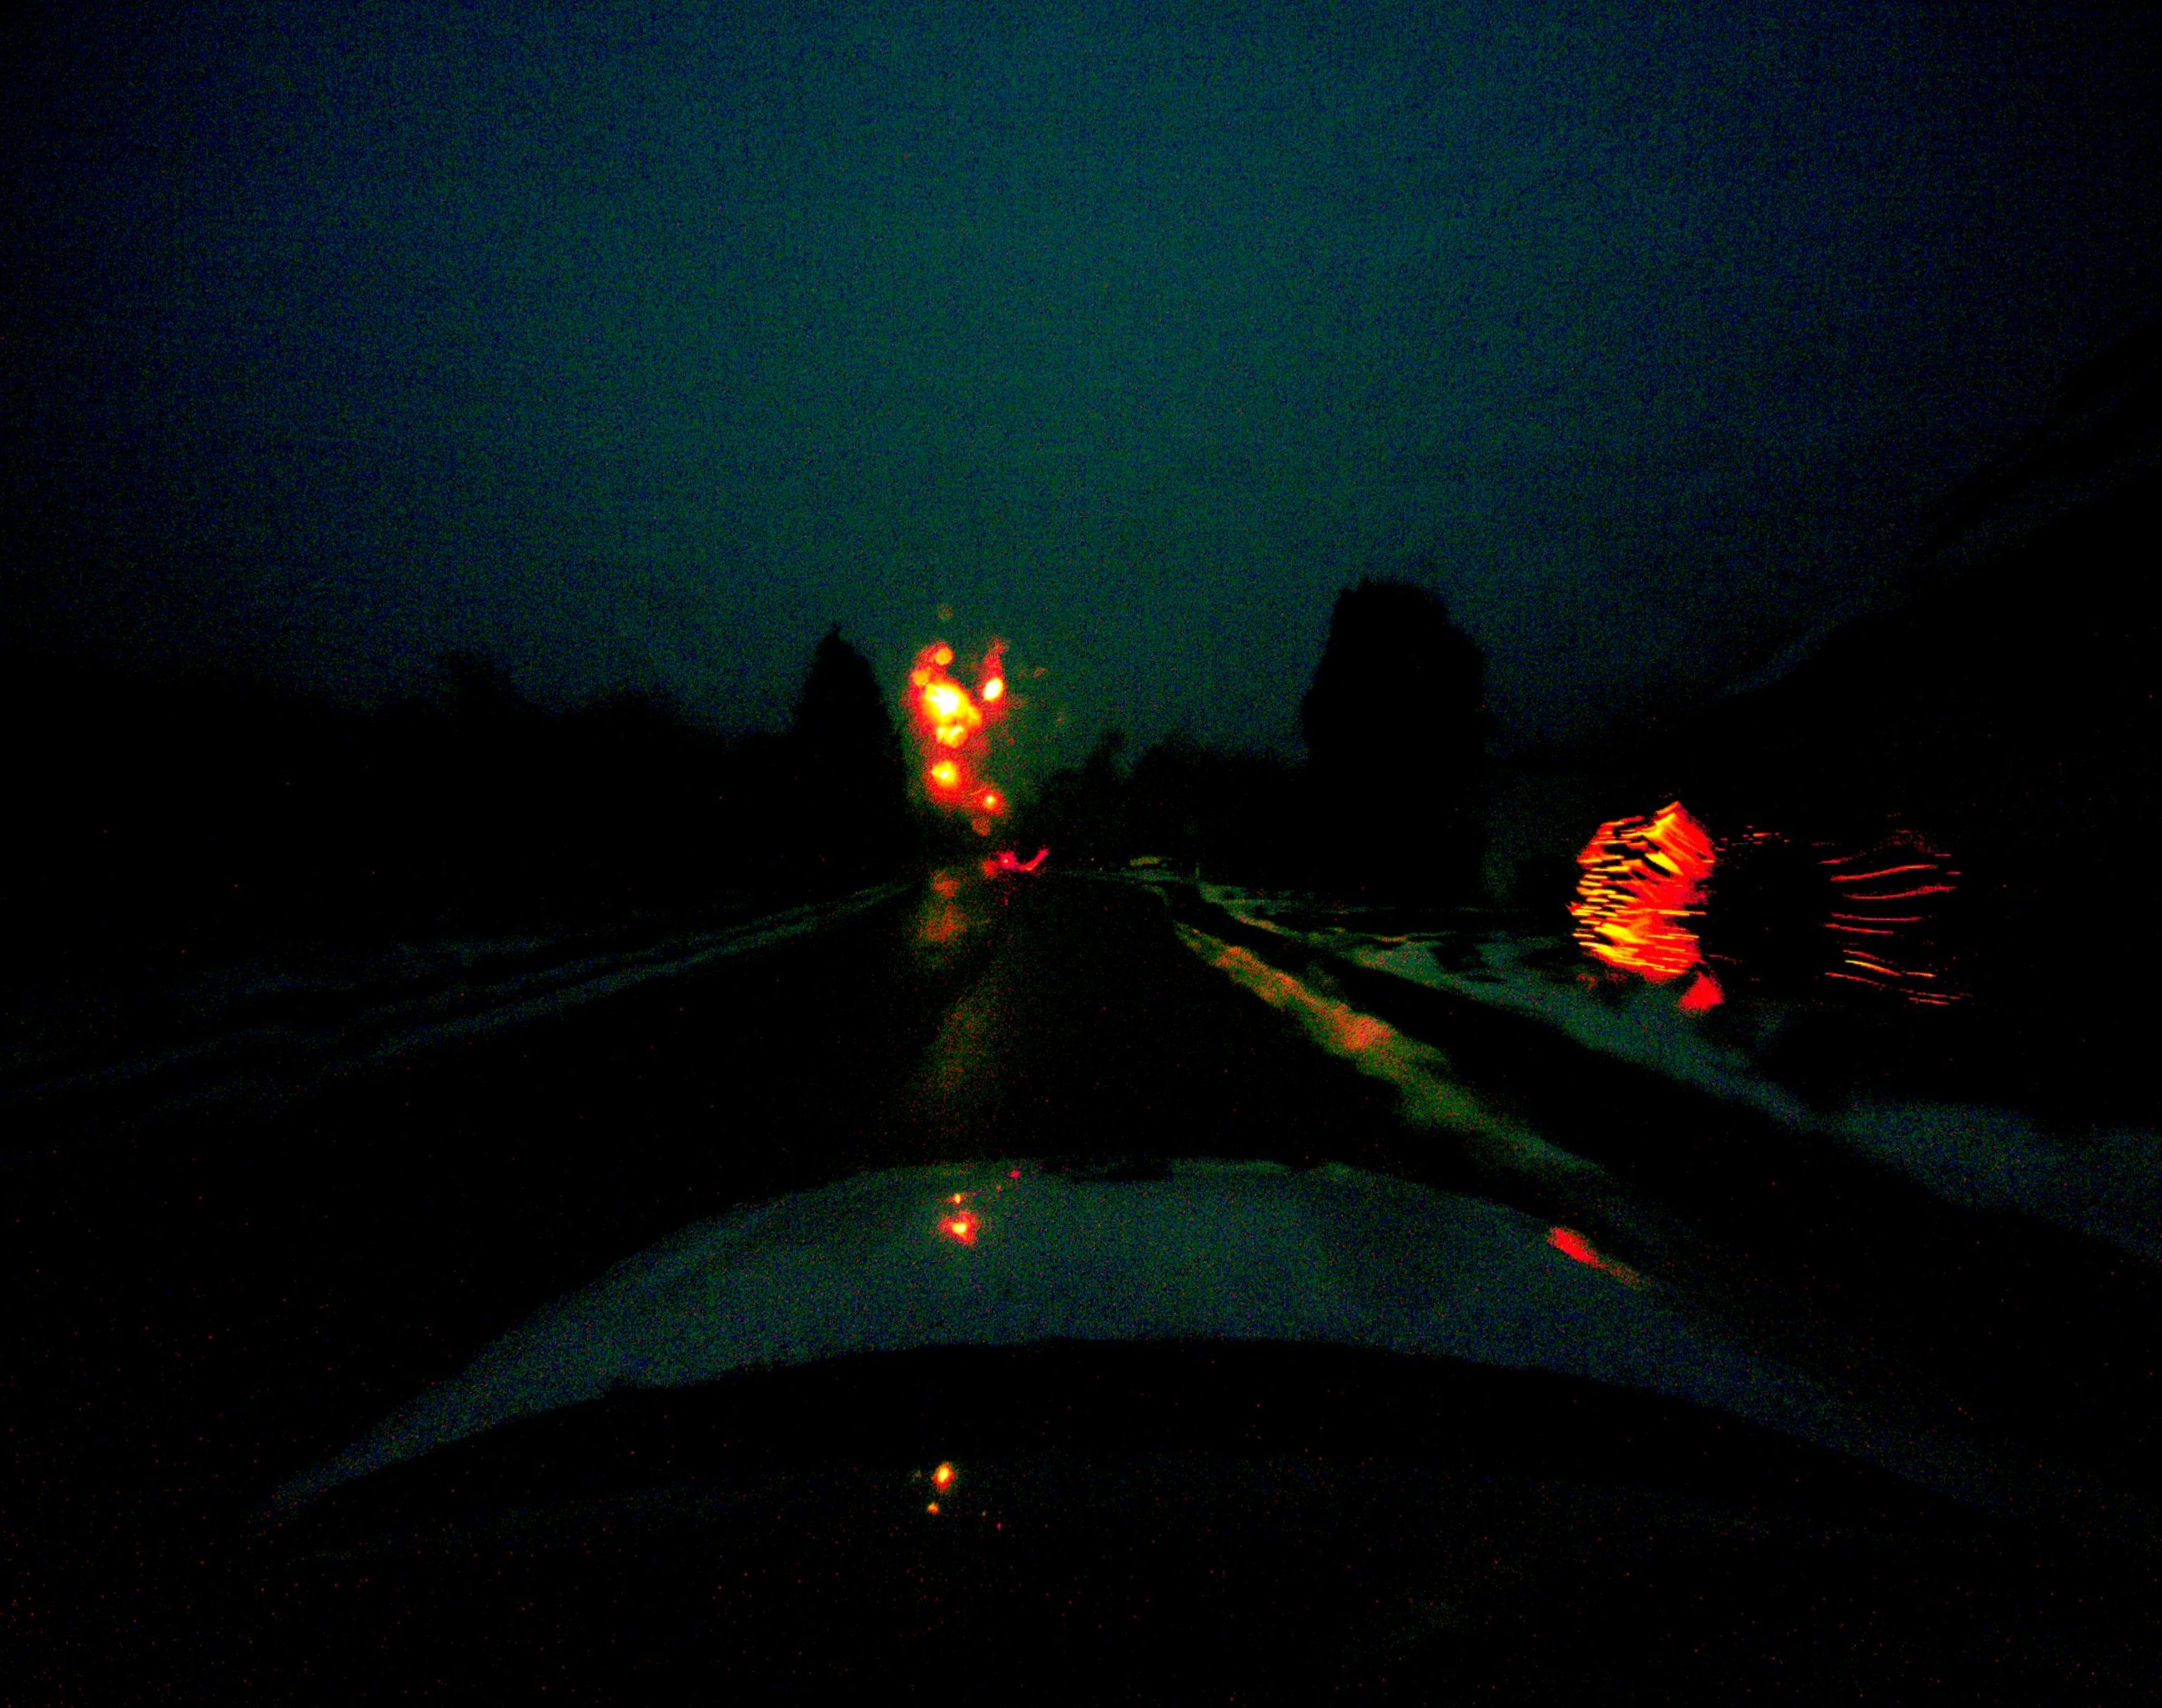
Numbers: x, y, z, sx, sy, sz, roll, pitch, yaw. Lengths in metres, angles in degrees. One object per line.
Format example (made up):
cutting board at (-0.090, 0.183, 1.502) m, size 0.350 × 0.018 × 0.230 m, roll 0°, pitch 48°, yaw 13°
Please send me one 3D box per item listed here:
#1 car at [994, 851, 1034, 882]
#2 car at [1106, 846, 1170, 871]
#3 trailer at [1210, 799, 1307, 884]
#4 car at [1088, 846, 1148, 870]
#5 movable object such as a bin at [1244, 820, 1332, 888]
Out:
car at (-4.112, 0.795, 49.264) m, size 1.994 × 1.737 × 3.863 m, roll -1°, pitch -3°, yaw -11°
car at (3.827, 0.322, 54.760) m, size 4.224 × 1.559 × 2.002 m, roll -1°, pitch -3°, yaw 3°
trailer at (7.912, -0.474, 36.957) m, size 2.871 × 3.560 × 5.052 m, roll 1°, pitch -1°, yaw -6°
car at (2.607, 0.282, 57.735) m, size 4.147 × 1.559 × 1.944 m, roll -1°, pitch -3°, yaw -2°
movable object such as a bin at (8.111, 0.038, 32.344) m, size 2.379 × 2.469 × 4.515 m, roll 1°, pitch -1°, yaw 1°
